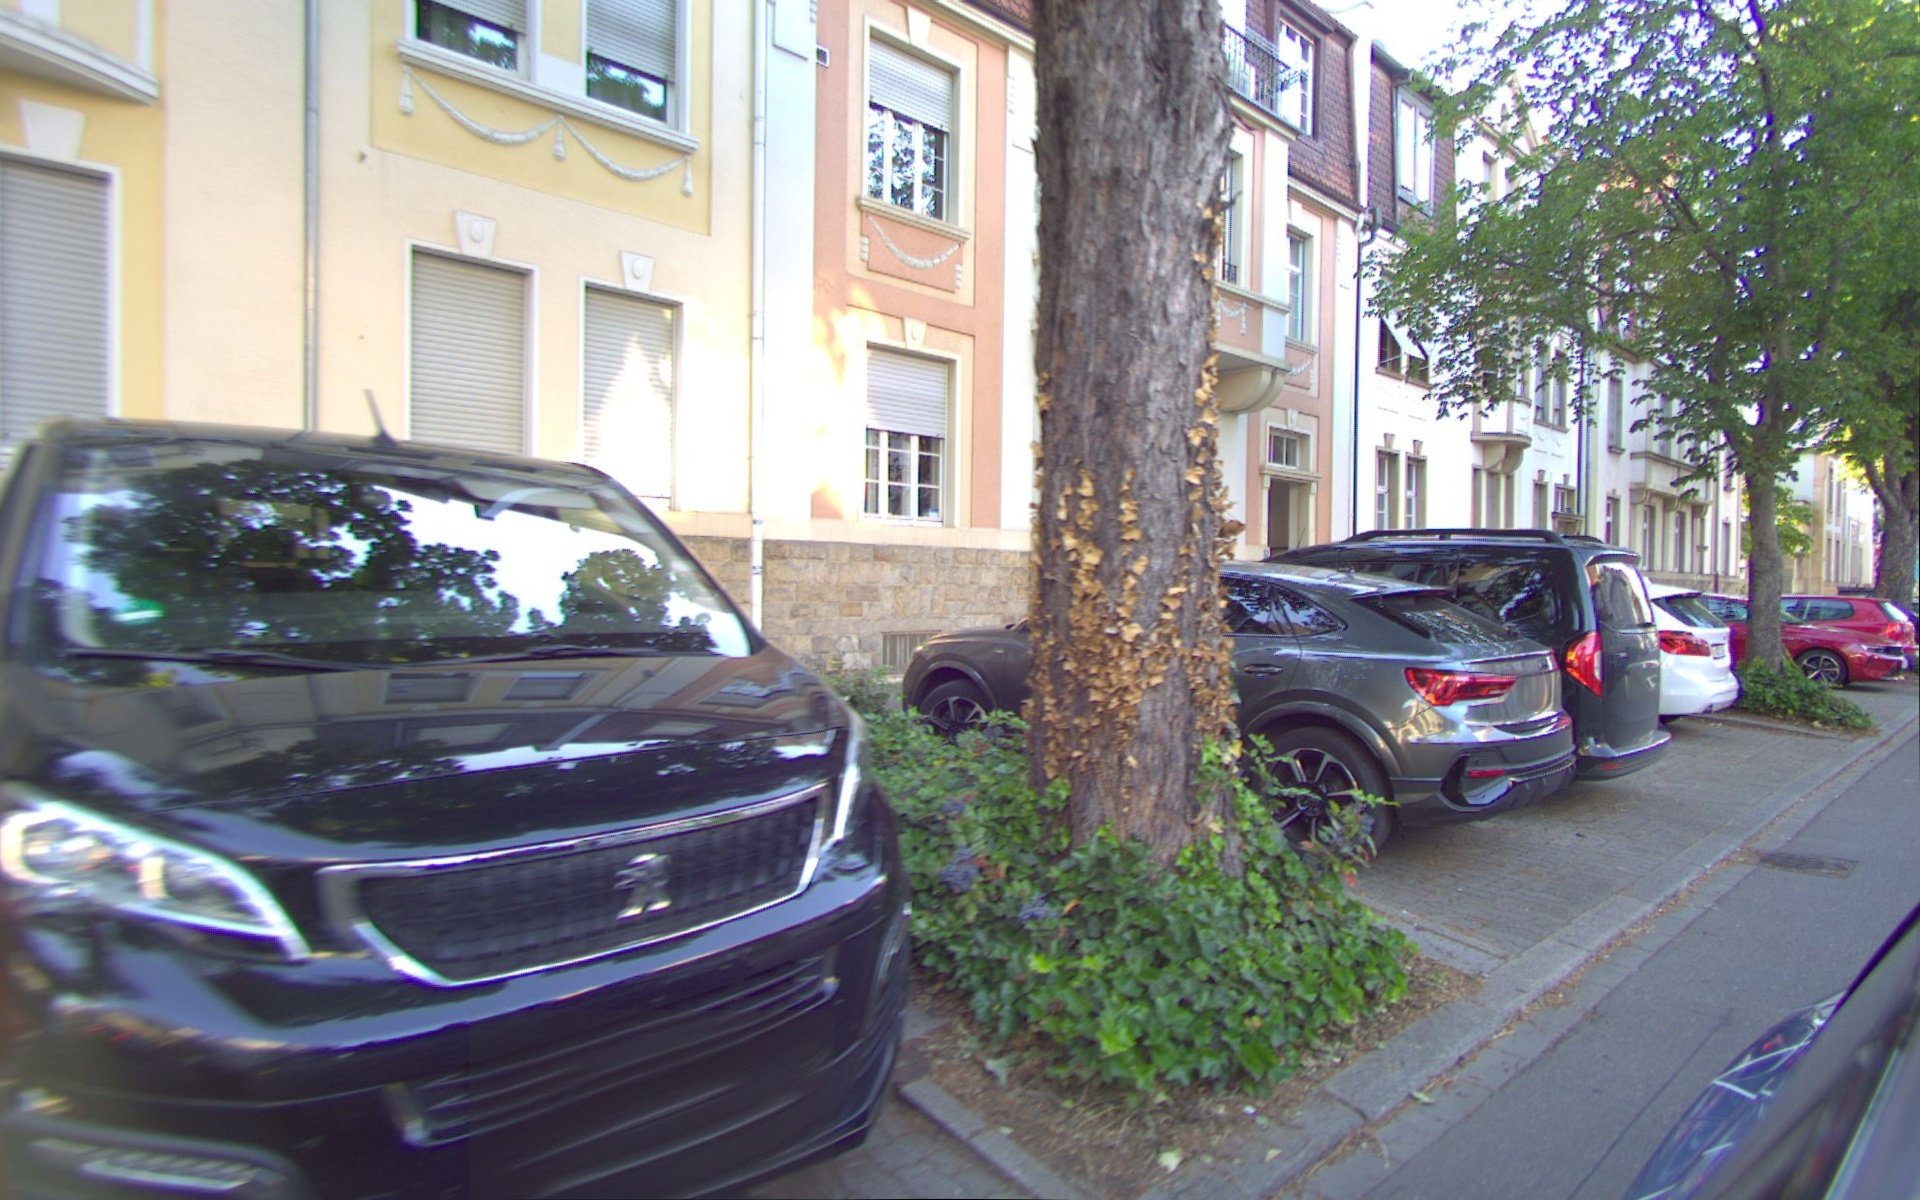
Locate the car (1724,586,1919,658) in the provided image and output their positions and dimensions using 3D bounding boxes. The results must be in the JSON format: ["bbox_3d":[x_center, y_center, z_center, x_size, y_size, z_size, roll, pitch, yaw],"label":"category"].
[{"bbox_3d":[20.579,0.464,23.968,1.548,1.484,3.681,0,2,-39],"label":"car"}]

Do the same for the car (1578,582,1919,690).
[{"bbox_3d":[13.529,0.502,17.437,1.833,1.470,4.533,0,2,-38],"label":"car"}]

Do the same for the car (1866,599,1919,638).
[{"bbox_3d":[30.601,0.609,31.489,1.515,1.164,3.399,0,2,-39],"label":"car"}]

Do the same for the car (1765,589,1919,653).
[{"bbox_3d":[22.727,0.499,25.412,1.548,1.416,3.681,0,2,-39],"label":"car"}]

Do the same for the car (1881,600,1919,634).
[{"bbox_3d":[32.976,0.623,33.558,1.515,1.076,3.399,0,2,-39],"label":"car"}]

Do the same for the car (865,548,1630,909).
[{"bbox_3d":[1.517,0.472,6.643,1.815,1.542,4.513,0,3,-45],"label":"car"}]

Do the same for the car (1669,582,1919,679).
[{"bbox_3d":[15.631,0.486,18.795,1.628,1.499,3.682,0,2,-38],"label":"car"}]

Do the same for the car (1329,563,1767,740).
[{"bbox_3d":[6.463,0.423,11.480,1.689,1.597,3.947,0,2,-41],"label":"car"}]

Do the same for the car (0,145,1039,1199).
[{"bbox_3d":[-2.153,0.342,3.411,1.867,1.897,4.753,0,3,-45],"label":"car"}]

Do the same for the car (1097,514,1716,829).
[{"bbox_3d":[3.289,0.329,8.091,1.814,1.860,4.116,0,2,-42],"label":"car"}]

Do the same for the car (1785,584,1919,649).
[{"bbox_3d":[24.589,0.423,27.037,1.548,1.576,3.681,0,2,-39],"label":"car"}]
